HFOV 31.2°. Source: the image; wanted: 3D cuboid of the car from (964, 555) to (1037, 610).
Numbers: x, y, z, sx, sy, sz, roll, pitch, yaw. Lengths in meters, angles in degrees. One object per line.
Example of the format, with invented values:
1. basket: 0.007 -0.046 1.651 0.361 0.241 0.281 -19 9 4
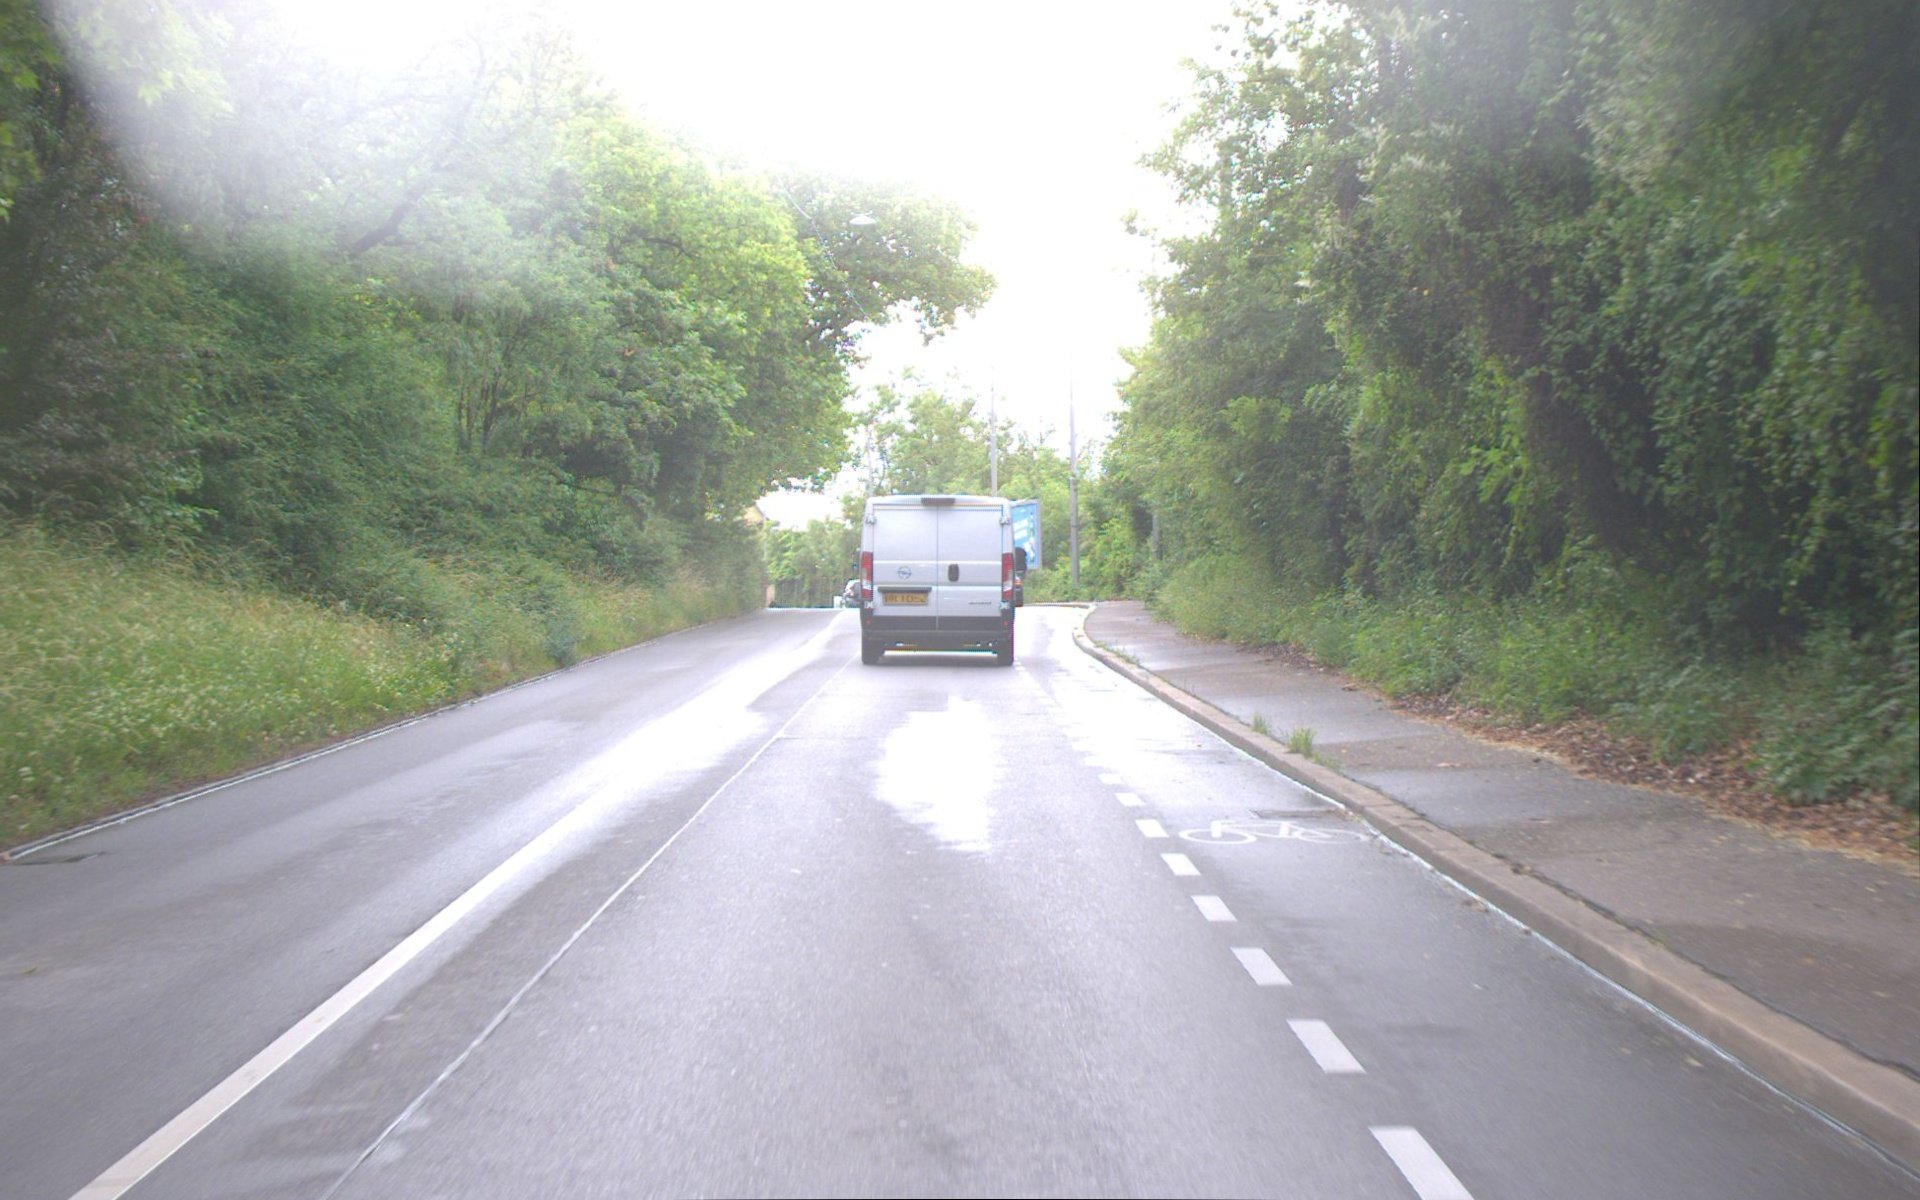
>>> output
1. car: 1.346 -0.598 116.330 2.237 1.798 4.714 1 1 -2

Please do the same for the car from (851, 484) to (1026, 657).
1. car: -0.301 -0.414 46.834 2.237 2.205 4.713 1 1 -1

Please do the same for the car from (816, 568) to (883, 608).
1. car: -4.986 -0.554 154.242 2.110 1.705 4.715 0 1 -13
